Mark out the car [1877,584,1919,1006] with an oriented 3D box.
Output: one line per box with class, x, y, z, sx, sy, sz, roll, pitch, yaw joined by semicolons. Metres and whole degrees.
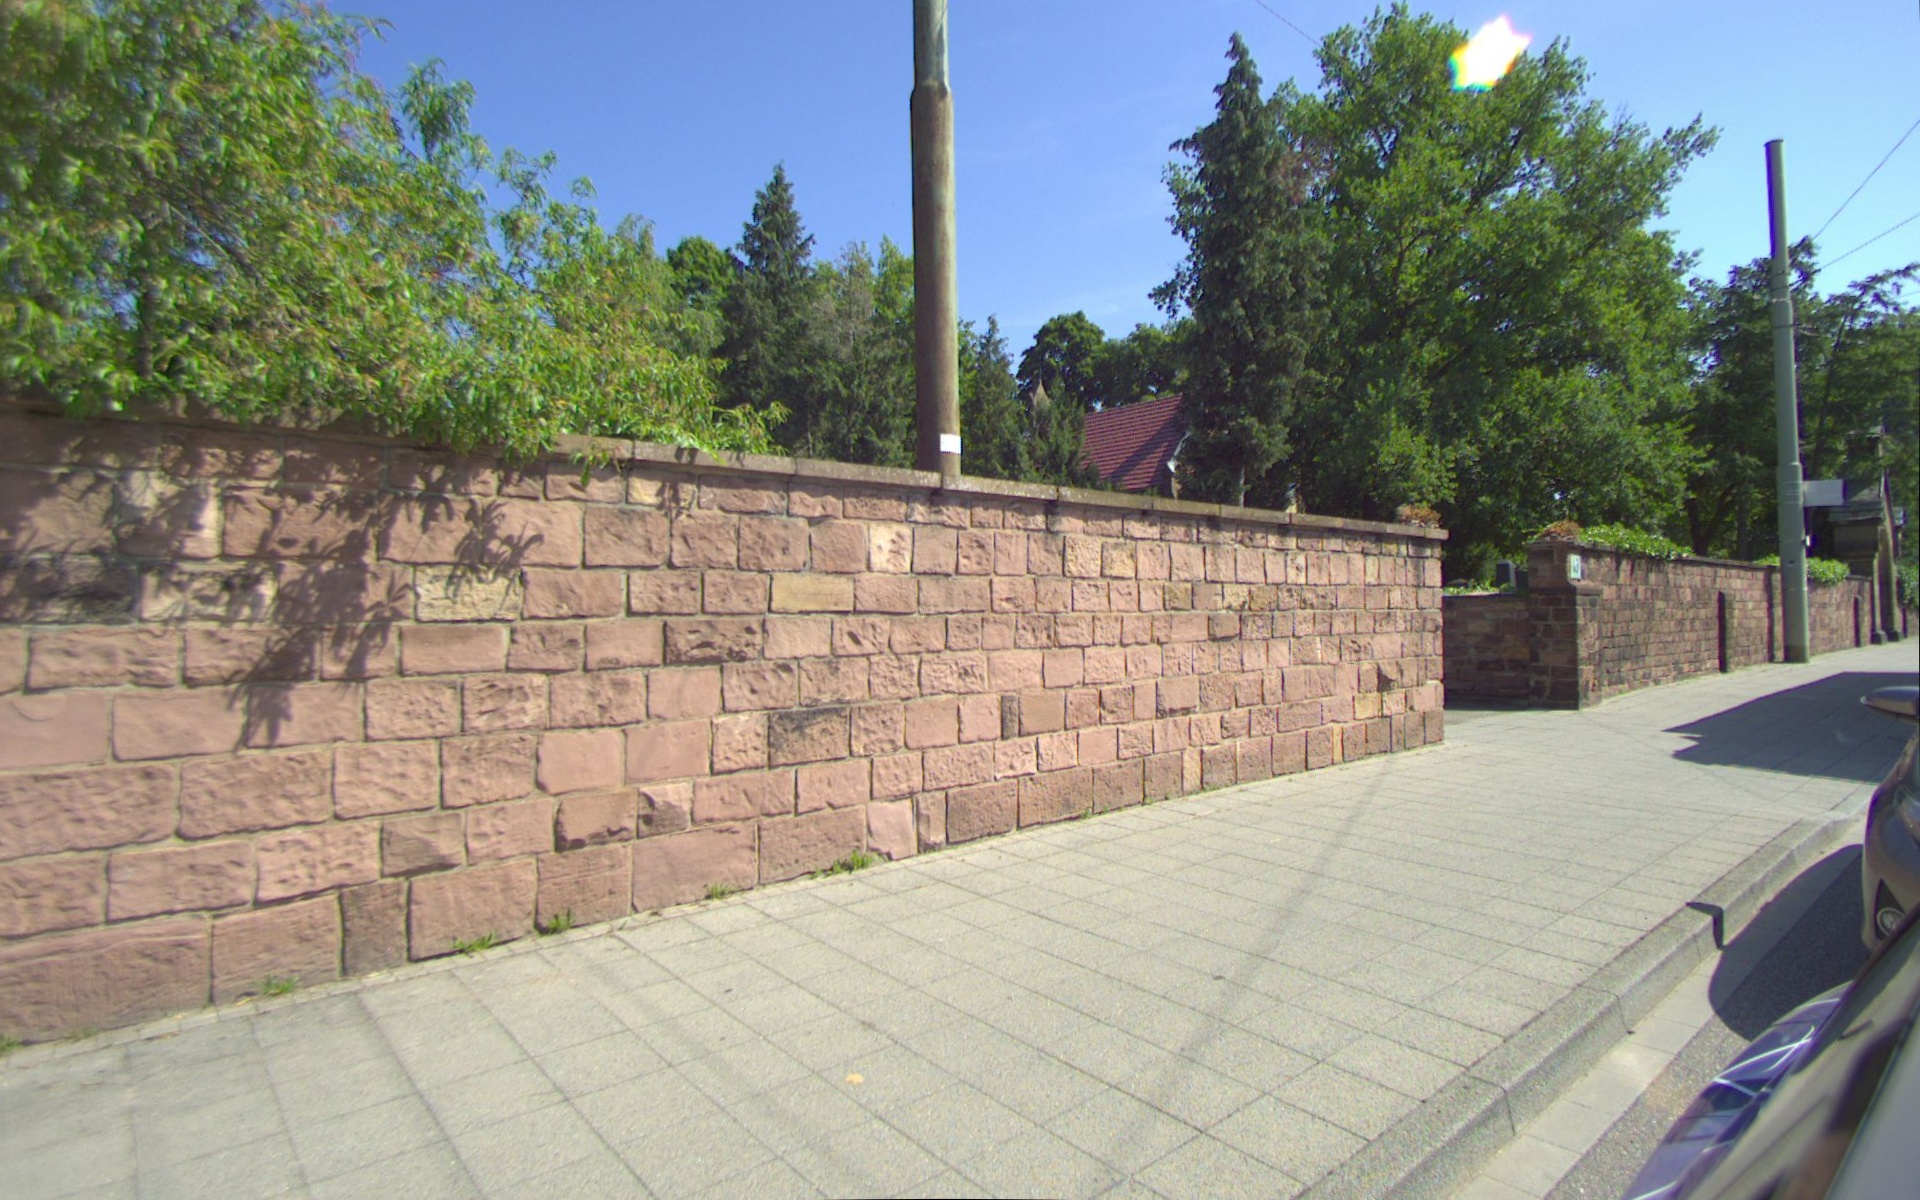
car;5.129;0.645;4.106;3.930;1.400;1.653;0;1;-41
